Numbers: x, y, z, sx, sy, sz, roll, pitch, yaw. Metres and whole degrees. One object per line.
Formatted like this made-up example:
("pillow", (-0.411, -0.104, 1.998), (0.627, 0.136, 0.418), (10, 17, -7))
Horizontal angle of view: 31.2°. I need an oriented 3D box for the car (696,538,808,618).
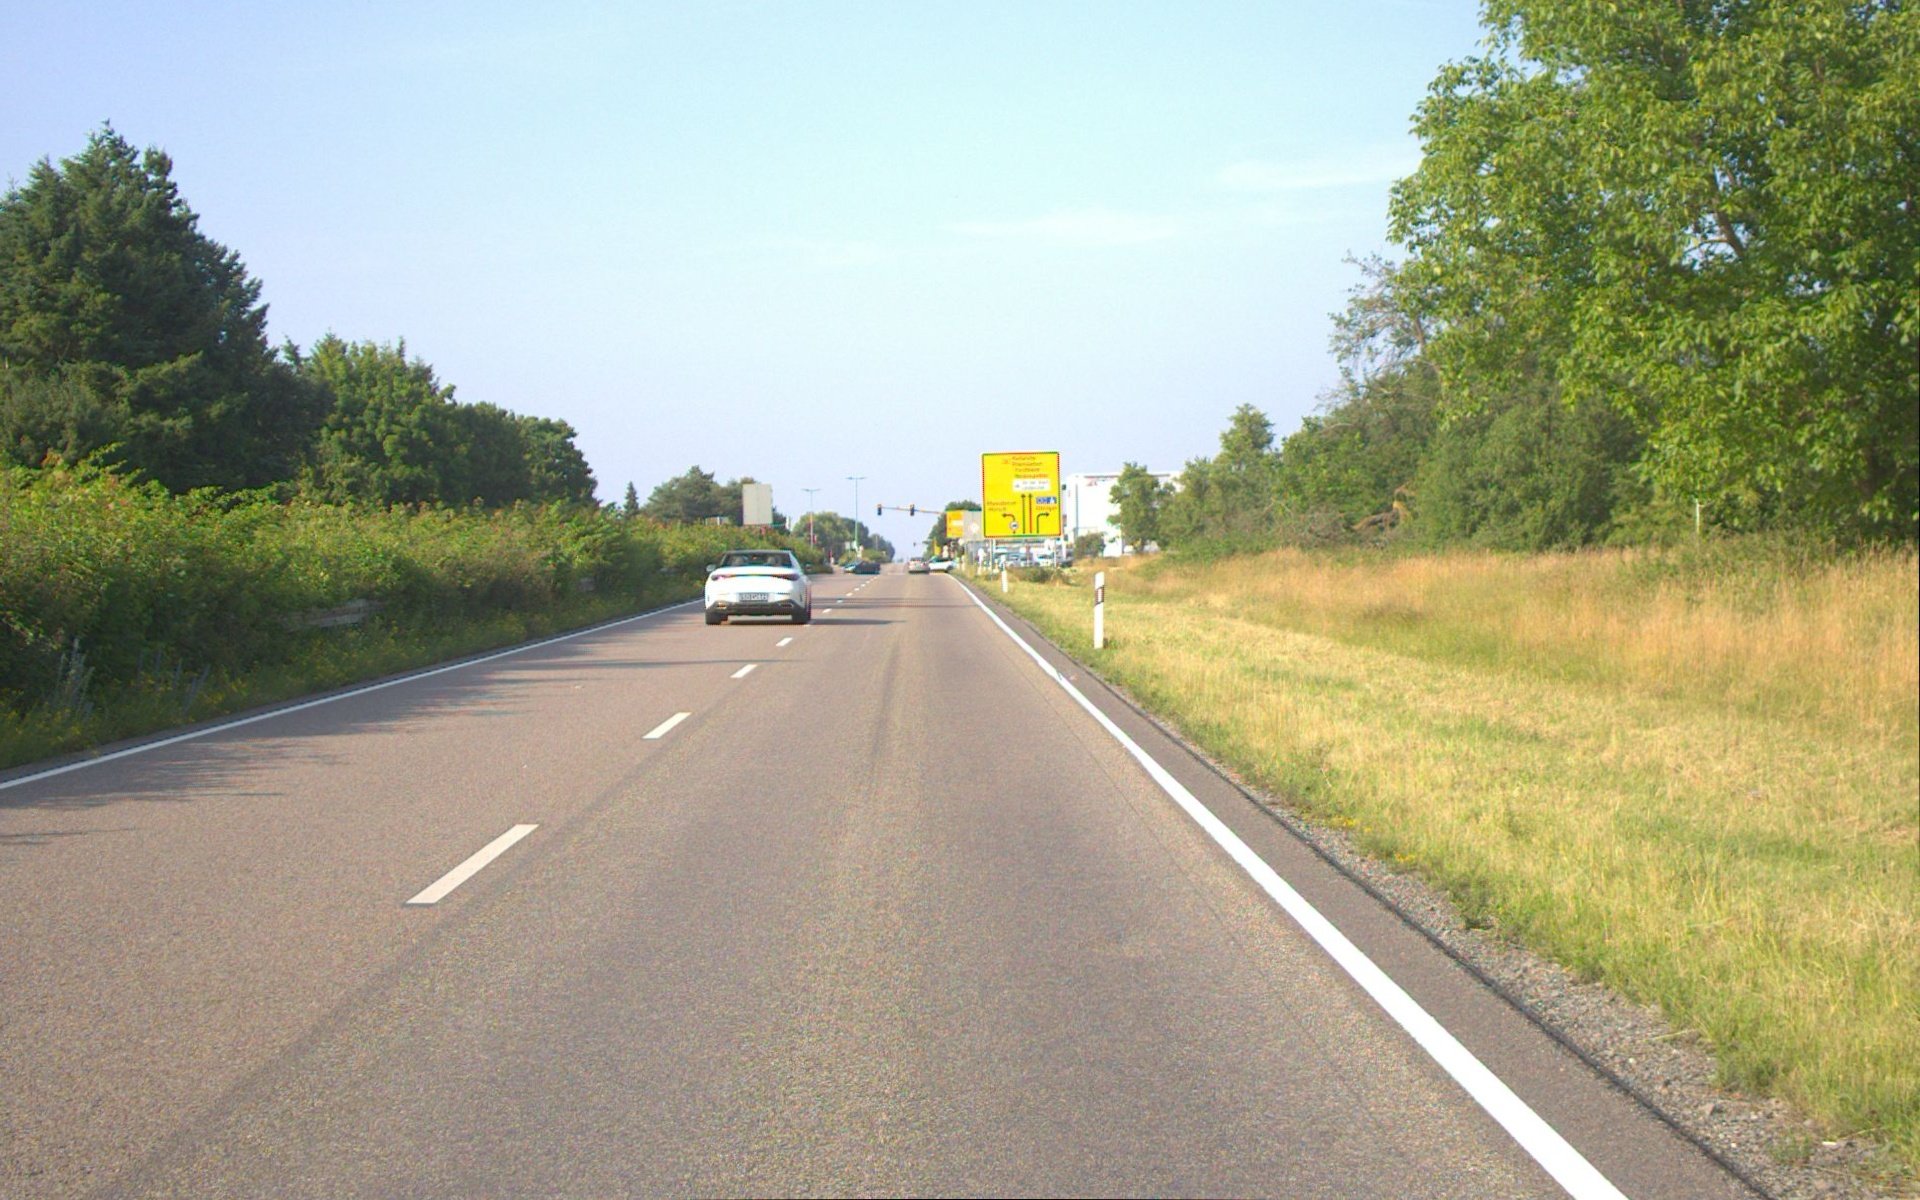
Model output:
("car", (-3.827, -0.423, 63.774), (1.909, 1.417, 4.000), (0, 1, -1))
